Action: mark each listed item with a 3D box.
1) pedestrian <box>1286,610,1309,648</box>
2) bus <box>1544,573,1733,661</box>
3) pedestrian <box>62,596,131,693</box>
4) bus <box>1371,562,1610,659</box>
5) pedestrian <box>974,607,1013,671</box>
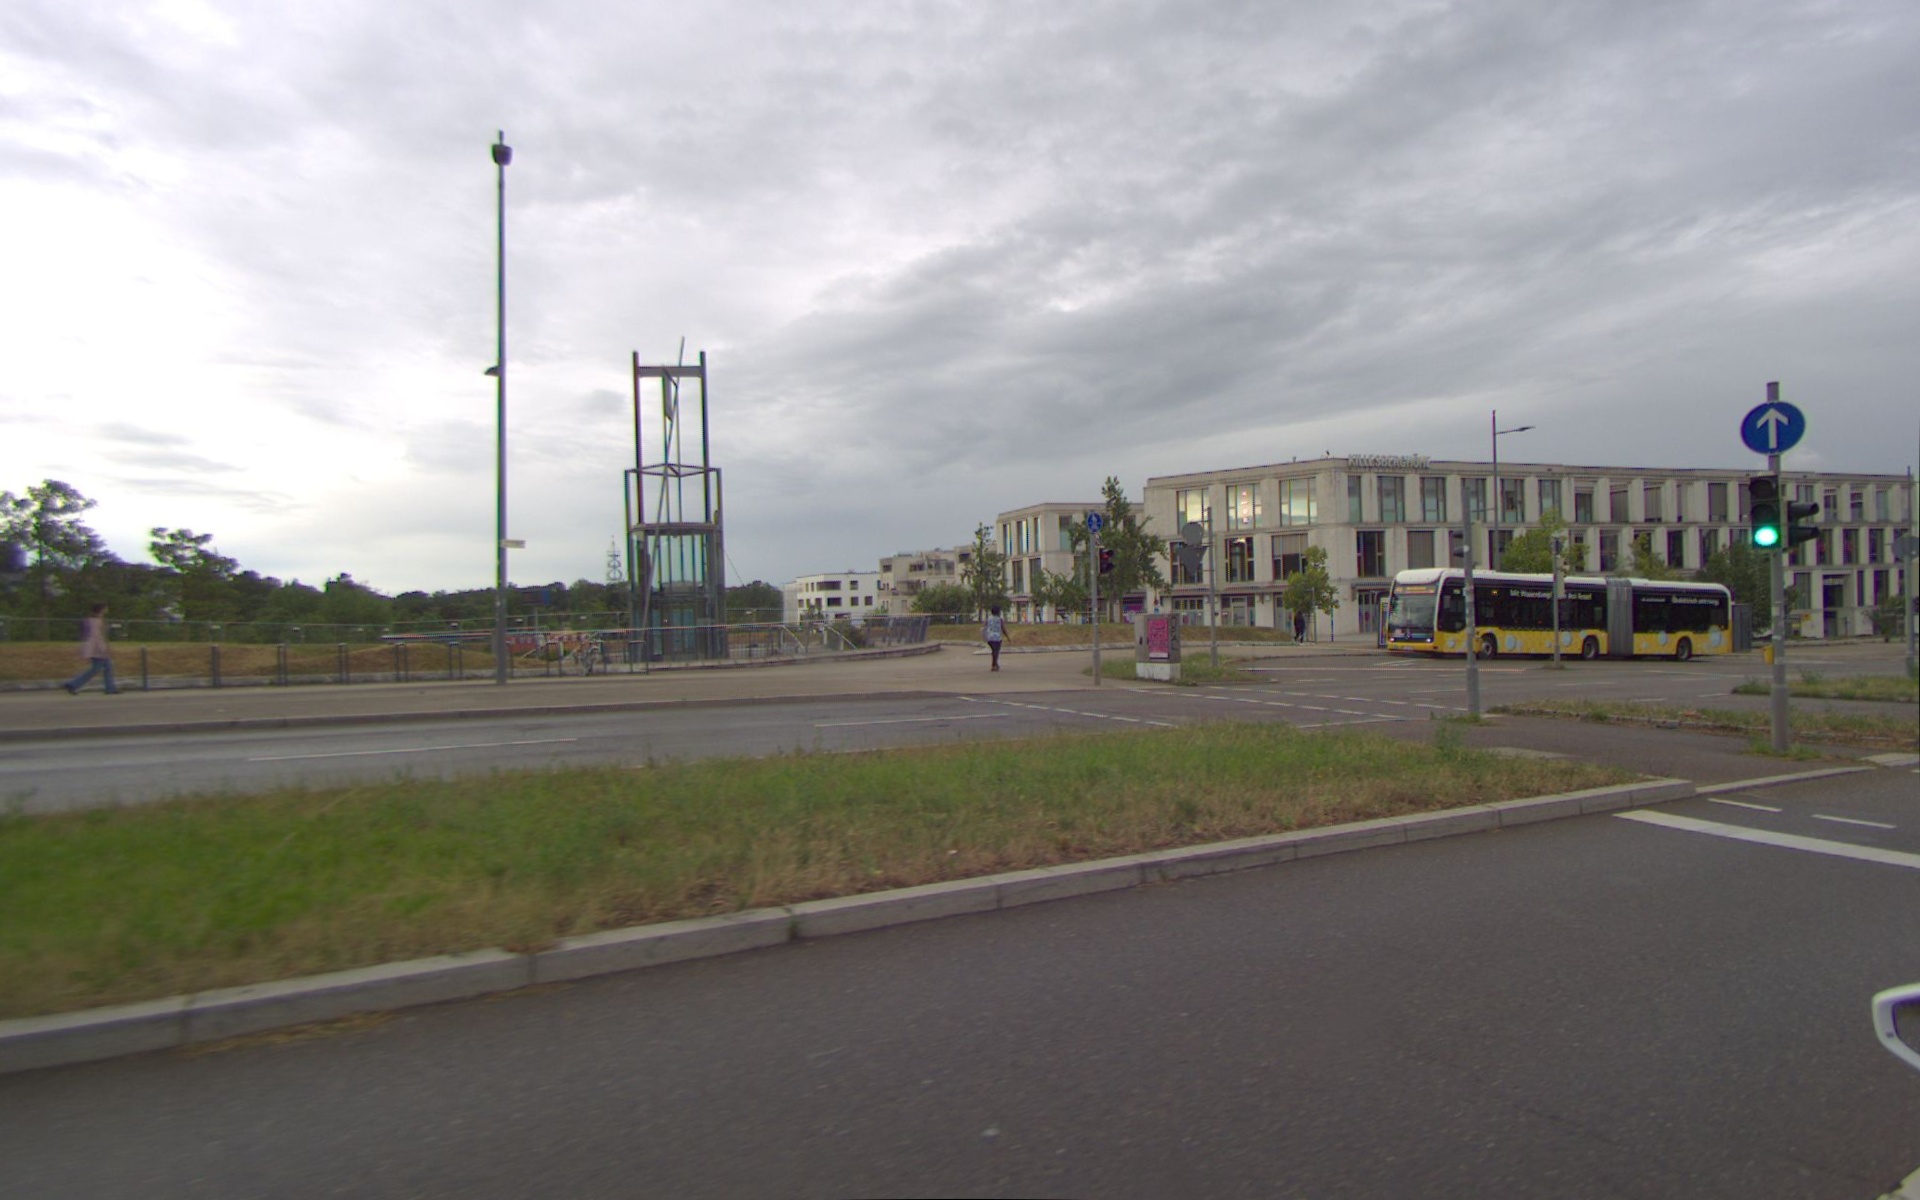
[{"bbox_3d":[15.497,1.325,46.146,0.860,1.718,0.558,1,0,-27],"label":"pedestrian"},{"bbox_3d":[29.426,0.759,43.526,8.115,3.518,2.815,2,0,-23],"label":"bus"},{"bbox_3d":[-14.970,0.754,17.440,0.804,1.615,0.610,-2,1,-35],"label":"pedestrian"},{"bbox_3d":[21.204,0.493,40.006,9.833,3.518,2.815,2,0,-23],"label":"bus"},{"bbox_3d":[0.870,1.013,26.152,0.806,1.615,0.673,-1,1,21],"label":"pedestrian"}]
